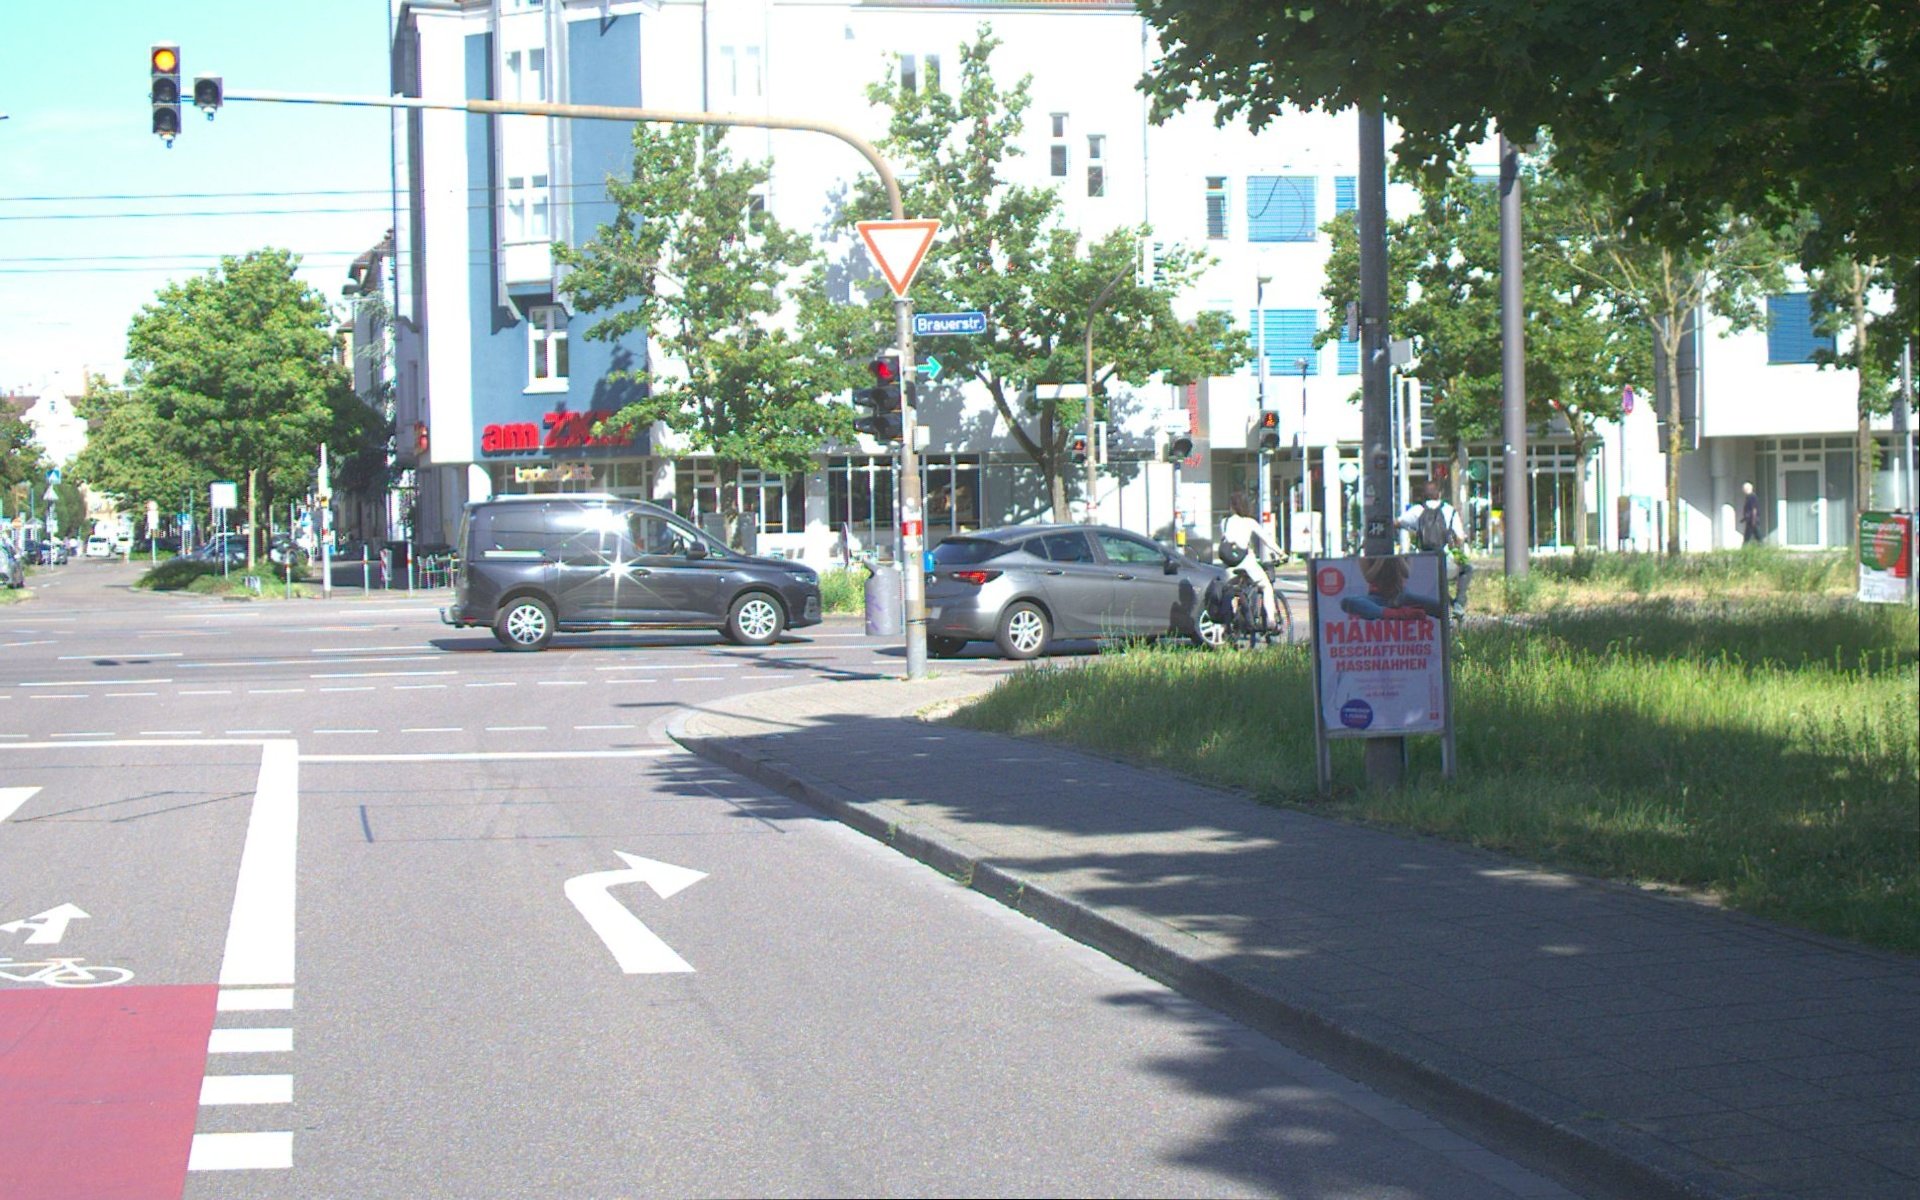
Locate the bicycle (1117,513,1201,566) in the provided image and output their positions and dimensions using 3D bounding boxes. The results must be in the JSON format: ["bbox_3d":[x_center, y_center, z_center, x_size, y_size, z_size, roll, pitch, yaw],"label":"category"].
[{"bbox_3d":[4.643,-1.423,80.225,1.863,1.178,0.562,-2,1,-15],"label":"bicycle"}]

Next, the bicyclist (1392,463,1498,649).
[{"bbox_3d":[5.188,-0.477,36.758,0.791,1.952,1.010,-1,1,27],"label":"bicyclist"}]

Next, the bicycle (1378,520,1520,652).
[{"bbox_3d":[5.274,-0.165,36.936,0.791,1.343,2.259,-1,1,27],"label":"bicycle"}]

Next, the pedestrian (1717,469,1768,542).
[{"bbox_3d":[18.917,-2.285,83.086,0.989,1.717,0.654,-2,1,-12],"label":"pedestrian"}]

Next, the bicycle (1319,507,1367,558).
[{"bbox_3d":[9.155,-1.618,82.254,0.560,1.178,1.870,-2,1,-12],"label":"bicycle"}]

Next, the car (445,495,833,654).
[{"bbox_3d":[-3.904,-0.306,41.564,4.481,1.794,1.765,1,1,-11],"label":"car"}]

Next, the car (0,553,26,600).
[{"bbox_3d":[-30.271,-0.749,107.270,1.687,1.427,4.401,1,1,-9],"label":"car"}]

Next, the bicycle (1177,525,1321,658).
[{"bbox_3d":[3.122,-0.104,36.953,0.791,1.343,2.076,-1,1,27],"label":"bicycle"}]

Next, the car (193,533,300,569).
[{"bbox_3d":[-25.369,-1.746,122.244,3.566,1.219,1.731,-1,0,-16],"label":"car"}]

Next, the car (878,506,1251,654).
[{"bbox_3d":[1.185,-0.214,38.436,3.859,1.572,1.693,1,1,-33],"label":"car"}]

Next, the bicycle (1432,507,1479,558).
[{"bbox_3d":[11.902,-1.625,82.657,0.560,1.178,1.870,-2,1,-10],"label":"bicycle"}]

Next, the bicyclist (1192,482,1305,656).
[{"bbox_3d":[3.103,-0.340,36.943,0.791,1.818,1.134,-1,1,27],"label":"bicyclist"}]

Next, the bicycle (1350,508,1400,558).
[{"bbox_3d":[9.981,-1.614,82.723,0.560,1.178,1.870,-2,1,-12],"label":"bicycle"}]
